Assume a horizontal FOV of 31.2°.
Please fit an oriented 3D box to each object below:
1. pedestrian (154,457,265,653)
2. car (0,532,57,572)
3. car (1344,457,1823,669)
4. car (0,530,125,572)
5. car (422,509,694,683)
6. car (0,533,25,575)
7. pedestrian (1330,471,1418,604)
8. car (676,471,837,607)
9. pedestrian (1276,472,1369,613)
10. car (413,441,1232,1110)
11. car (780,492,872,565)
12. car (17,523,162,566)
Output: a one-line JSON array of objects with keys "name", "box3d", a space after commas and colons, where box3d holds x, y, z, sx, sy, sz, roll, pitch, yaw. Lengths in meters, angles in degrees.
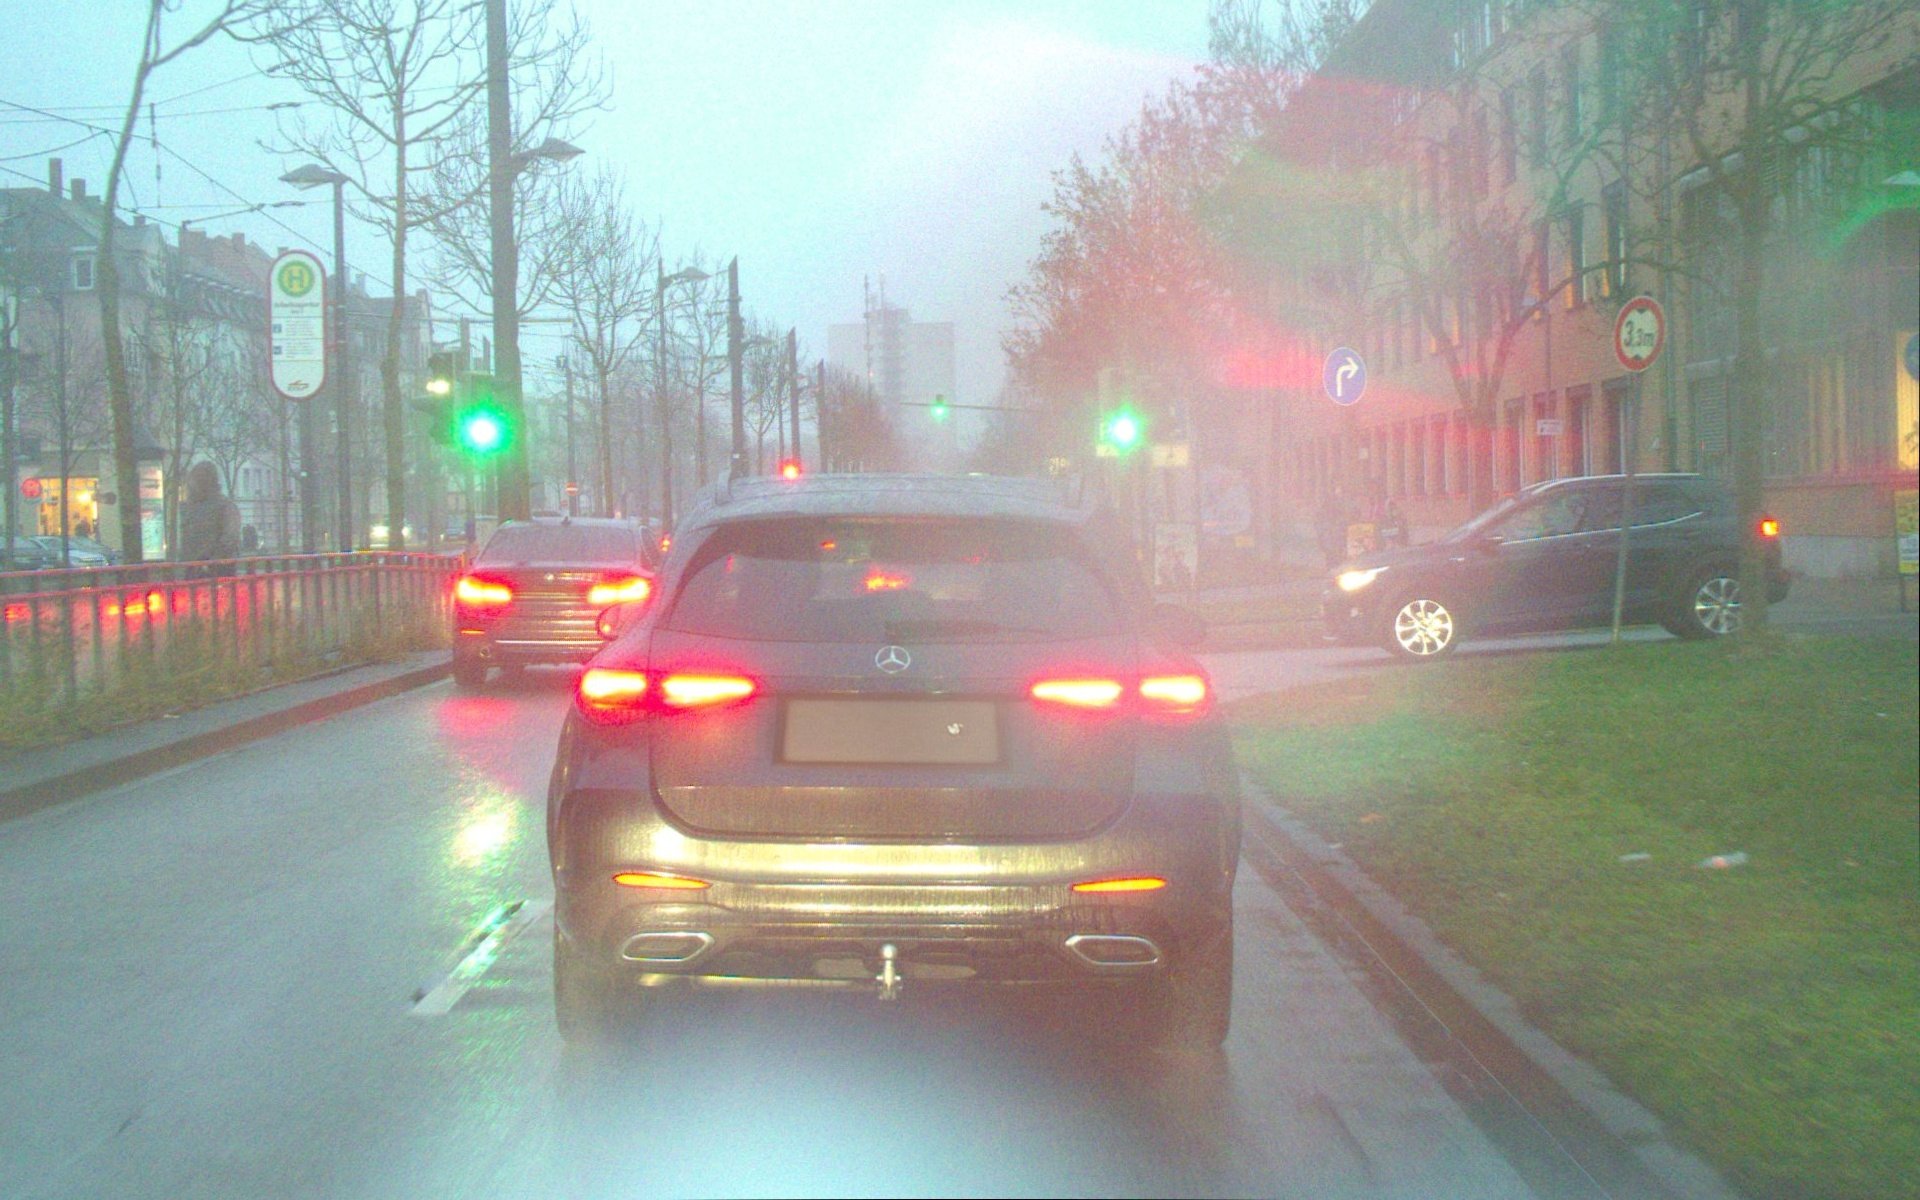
[{"name": "pedestrian", "box3d": [-6.081, -0.370, 27.890, 0.699, 1.547, 0.669, -2, 1, 0]}, {"name": "car", "box3d": [-29.440, -1.403, 103.873, 3.774, 1.152, 1.649, -2, 2, 5]}, {"name": "car", "box3d": [5.456, -0.343, 30.439, 3.860, 1.555, 1.765, -4, 2, 2]}, {"name": "car", "box3d": [-28.120, -1.530, 106.968, 3.774, 1.152, 1.649, -2, 2, 5]}, {"name": "car", "box3d": [-3.519, -0.086, 30.799, 1.993, 1.393, 4.001, -2, 2, -1]}, {"name": "car", "box3d": [-28.569, -1.232, 97.163, 3.774, 1.152, 1.649, -2, 2, 5]}, {"name": "pedestrian", "box3d": [5.065, -0.765, 42.078, 0.903, 1.590, 0.501, -1, 2, 42]}, {"name": "car", "box3d": [-2.803, -0.874, 48.107, 1.993, 1.759, 4.000, -2, 2, 0]}, {"name": "pedestrian", "box3d": [4.199, -0.663, 39.807, 0.903, 1.590, 0.501, -1, 2, 42]}, {"name": "car", "box3d": [-0.342, 0.382, 10.570, 1.991, 1.610, 4.000, -2, 2, 0]}, {"name": "car", "box3d": [-3.094, -1.680, 80.234, 1.993, 1.612, 4.000, -2, 2, -1]}, {"name": "car", "box3d": [-27.868, -1.793, 110.106, 3.988, 1.222, 2.000, -2, 1, 7]}]
